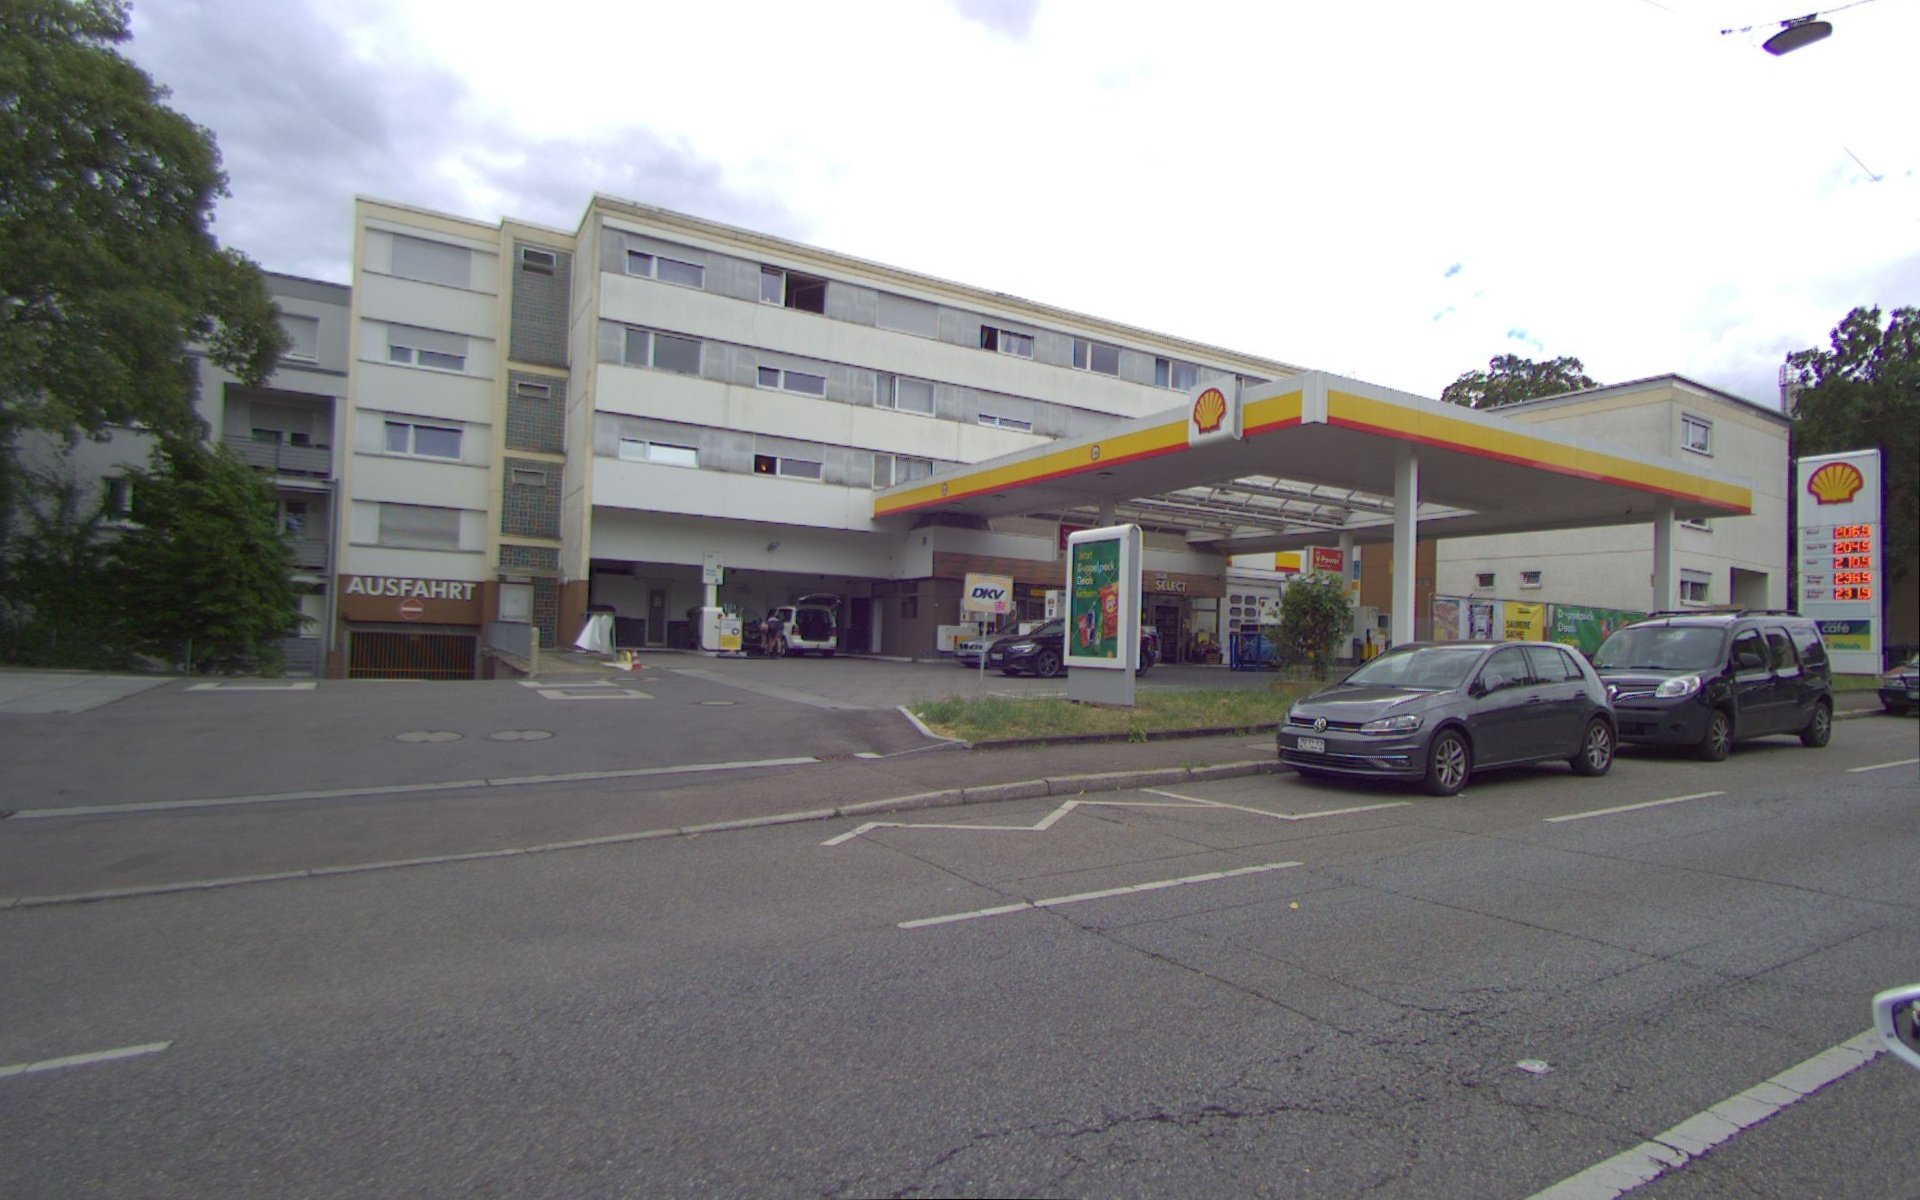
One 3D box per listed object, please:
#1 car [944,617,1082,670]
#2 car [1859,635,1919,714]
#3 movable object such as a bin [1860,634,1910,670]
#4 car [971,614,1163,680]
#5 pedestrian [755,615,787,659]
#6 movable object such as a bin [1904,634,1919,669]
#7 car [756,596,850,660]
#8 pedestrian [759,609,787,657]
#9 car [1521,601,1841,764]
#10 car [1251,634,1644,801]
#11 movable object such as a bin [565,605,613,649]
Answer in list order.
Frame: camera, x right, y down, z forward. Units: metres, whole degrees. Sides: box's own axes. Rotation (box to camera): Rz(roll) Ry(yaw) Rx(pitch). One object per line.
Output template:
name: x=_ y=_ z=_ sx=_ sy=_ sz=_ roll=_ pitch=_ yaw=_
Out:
car: x=1.547 y=1.217 z=28.910 sx=3.593 sy=1.439 sz=1.789 roll=1 pitch=-1 yaw=-30
car: x=19.622 y=1.391 z=19.459 sx=4.684 sy=1.450 sz=1.791 roll=1 pitch=-3 yaw=-28
movable object such as a bin: x=39.133 y=2.184 z=42.502 sx=0.903 sy=1.447 sz=1.385 roll=1 pitch=-1 yaw=-32
car: x=2.589 y=1.088 z=23.966 sx=4.365 sy=1.439 sz=1.789 roll=1 pitch=-1 yaw=-30
pedestrian: x=-5.817 y=1.128 z=30.869 sx=0.792 sy=1.332 sz=0.659 roll=1 pitch=0 yaw=-32
movable object such as a bin: x=39.879 y=2.125 z=41.290 sx=0.903 sy=1.447 sz=1.385 roll=1 pitch=-1 yaw=-32
car: x=-5.251 y=0.910 z=33.220 sx=1.814 sy=1.989 sz=3.877 roll=1 pitch=-1 yaw=-29
pedestrian: x=-6.015 y=1.053 z=32.322 sx=0.656 sy=1.537 sz=0.795 roll=1 pitch=0 yaw=-27
car: x=9.769 y=1.021 z=13.515 sx=4.649 sy=1.859 sz=1.842 roll=1 pitch=-3 yaw=-32
car: x=5.289 y=1.119 z=10.786 sx=4.168 sy=1.469 sz=1.782 roll=1 pitch=-3 yaw=-30
movable object such as a bin: x=-12.089 y=0.886 z=32.731 sx=1.230 sy=1.391 sz=1.144 roll=1 pitch=-1 yaw=-32
